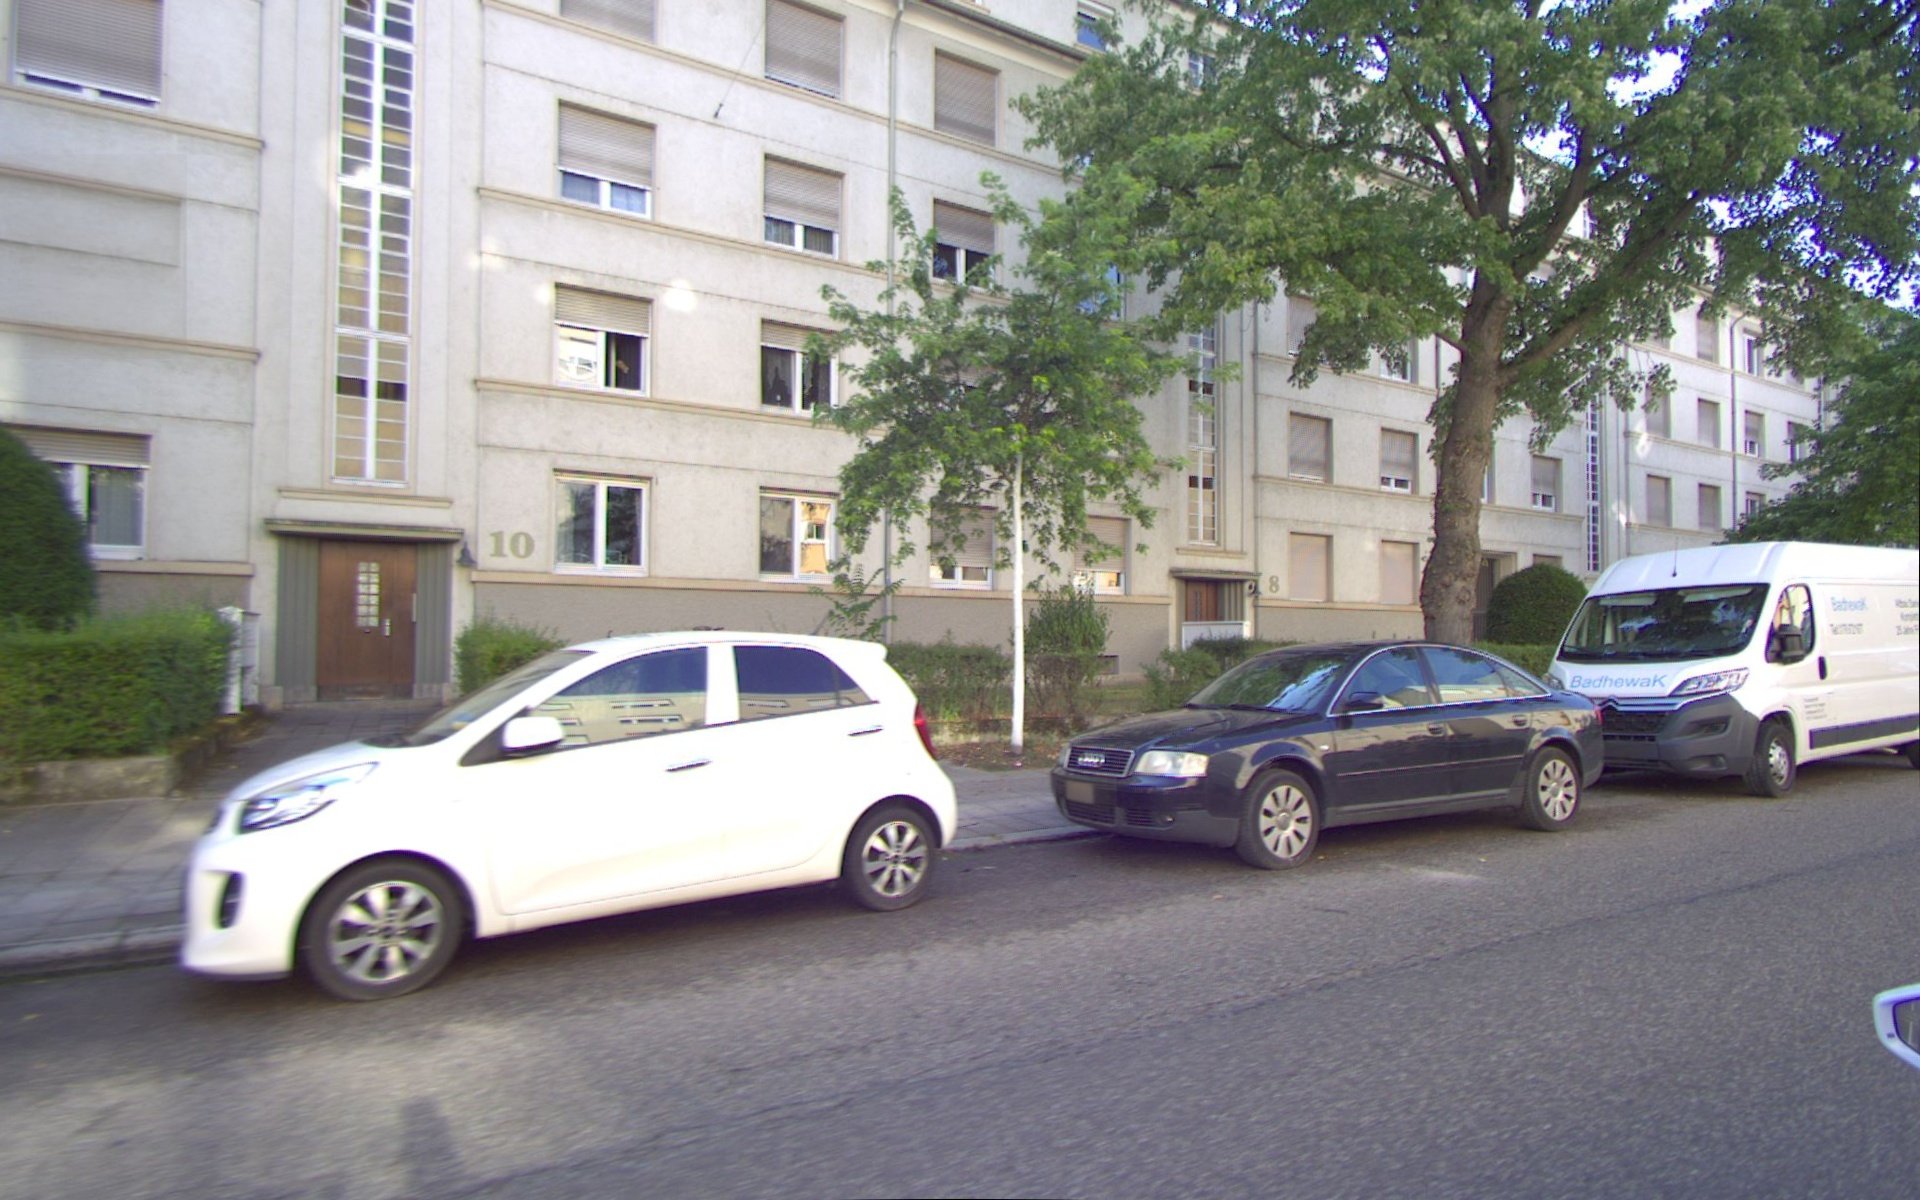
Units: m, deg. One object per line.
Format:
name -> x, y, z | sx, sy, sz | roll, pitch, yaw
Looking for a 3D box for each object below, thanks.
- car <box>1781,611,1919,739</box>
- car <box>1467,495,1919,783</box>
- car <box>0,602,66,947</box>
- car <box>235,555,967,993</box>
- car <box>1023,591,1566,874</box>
car -> 13.633, 1.034, 14.043 | 4.295, 1.579, 1.947 | 3, -1, -30
car -> 8.678, 0.583, 11.160 | 6.092, 2.475, 2.349 | 3, -8, -30
car -> -5.751, 0.621, 2.757 | 4.602, 1.373, 1.863 | 3, -1, -32
car -> -1.769, 0.726, 5.311 | 3.229, 1.594, 1.696 | 3, -3, -35
car -> 2.500, 0.868, 7.371 | 3.773, 1.594, 1.700 | 3, -4, -29
